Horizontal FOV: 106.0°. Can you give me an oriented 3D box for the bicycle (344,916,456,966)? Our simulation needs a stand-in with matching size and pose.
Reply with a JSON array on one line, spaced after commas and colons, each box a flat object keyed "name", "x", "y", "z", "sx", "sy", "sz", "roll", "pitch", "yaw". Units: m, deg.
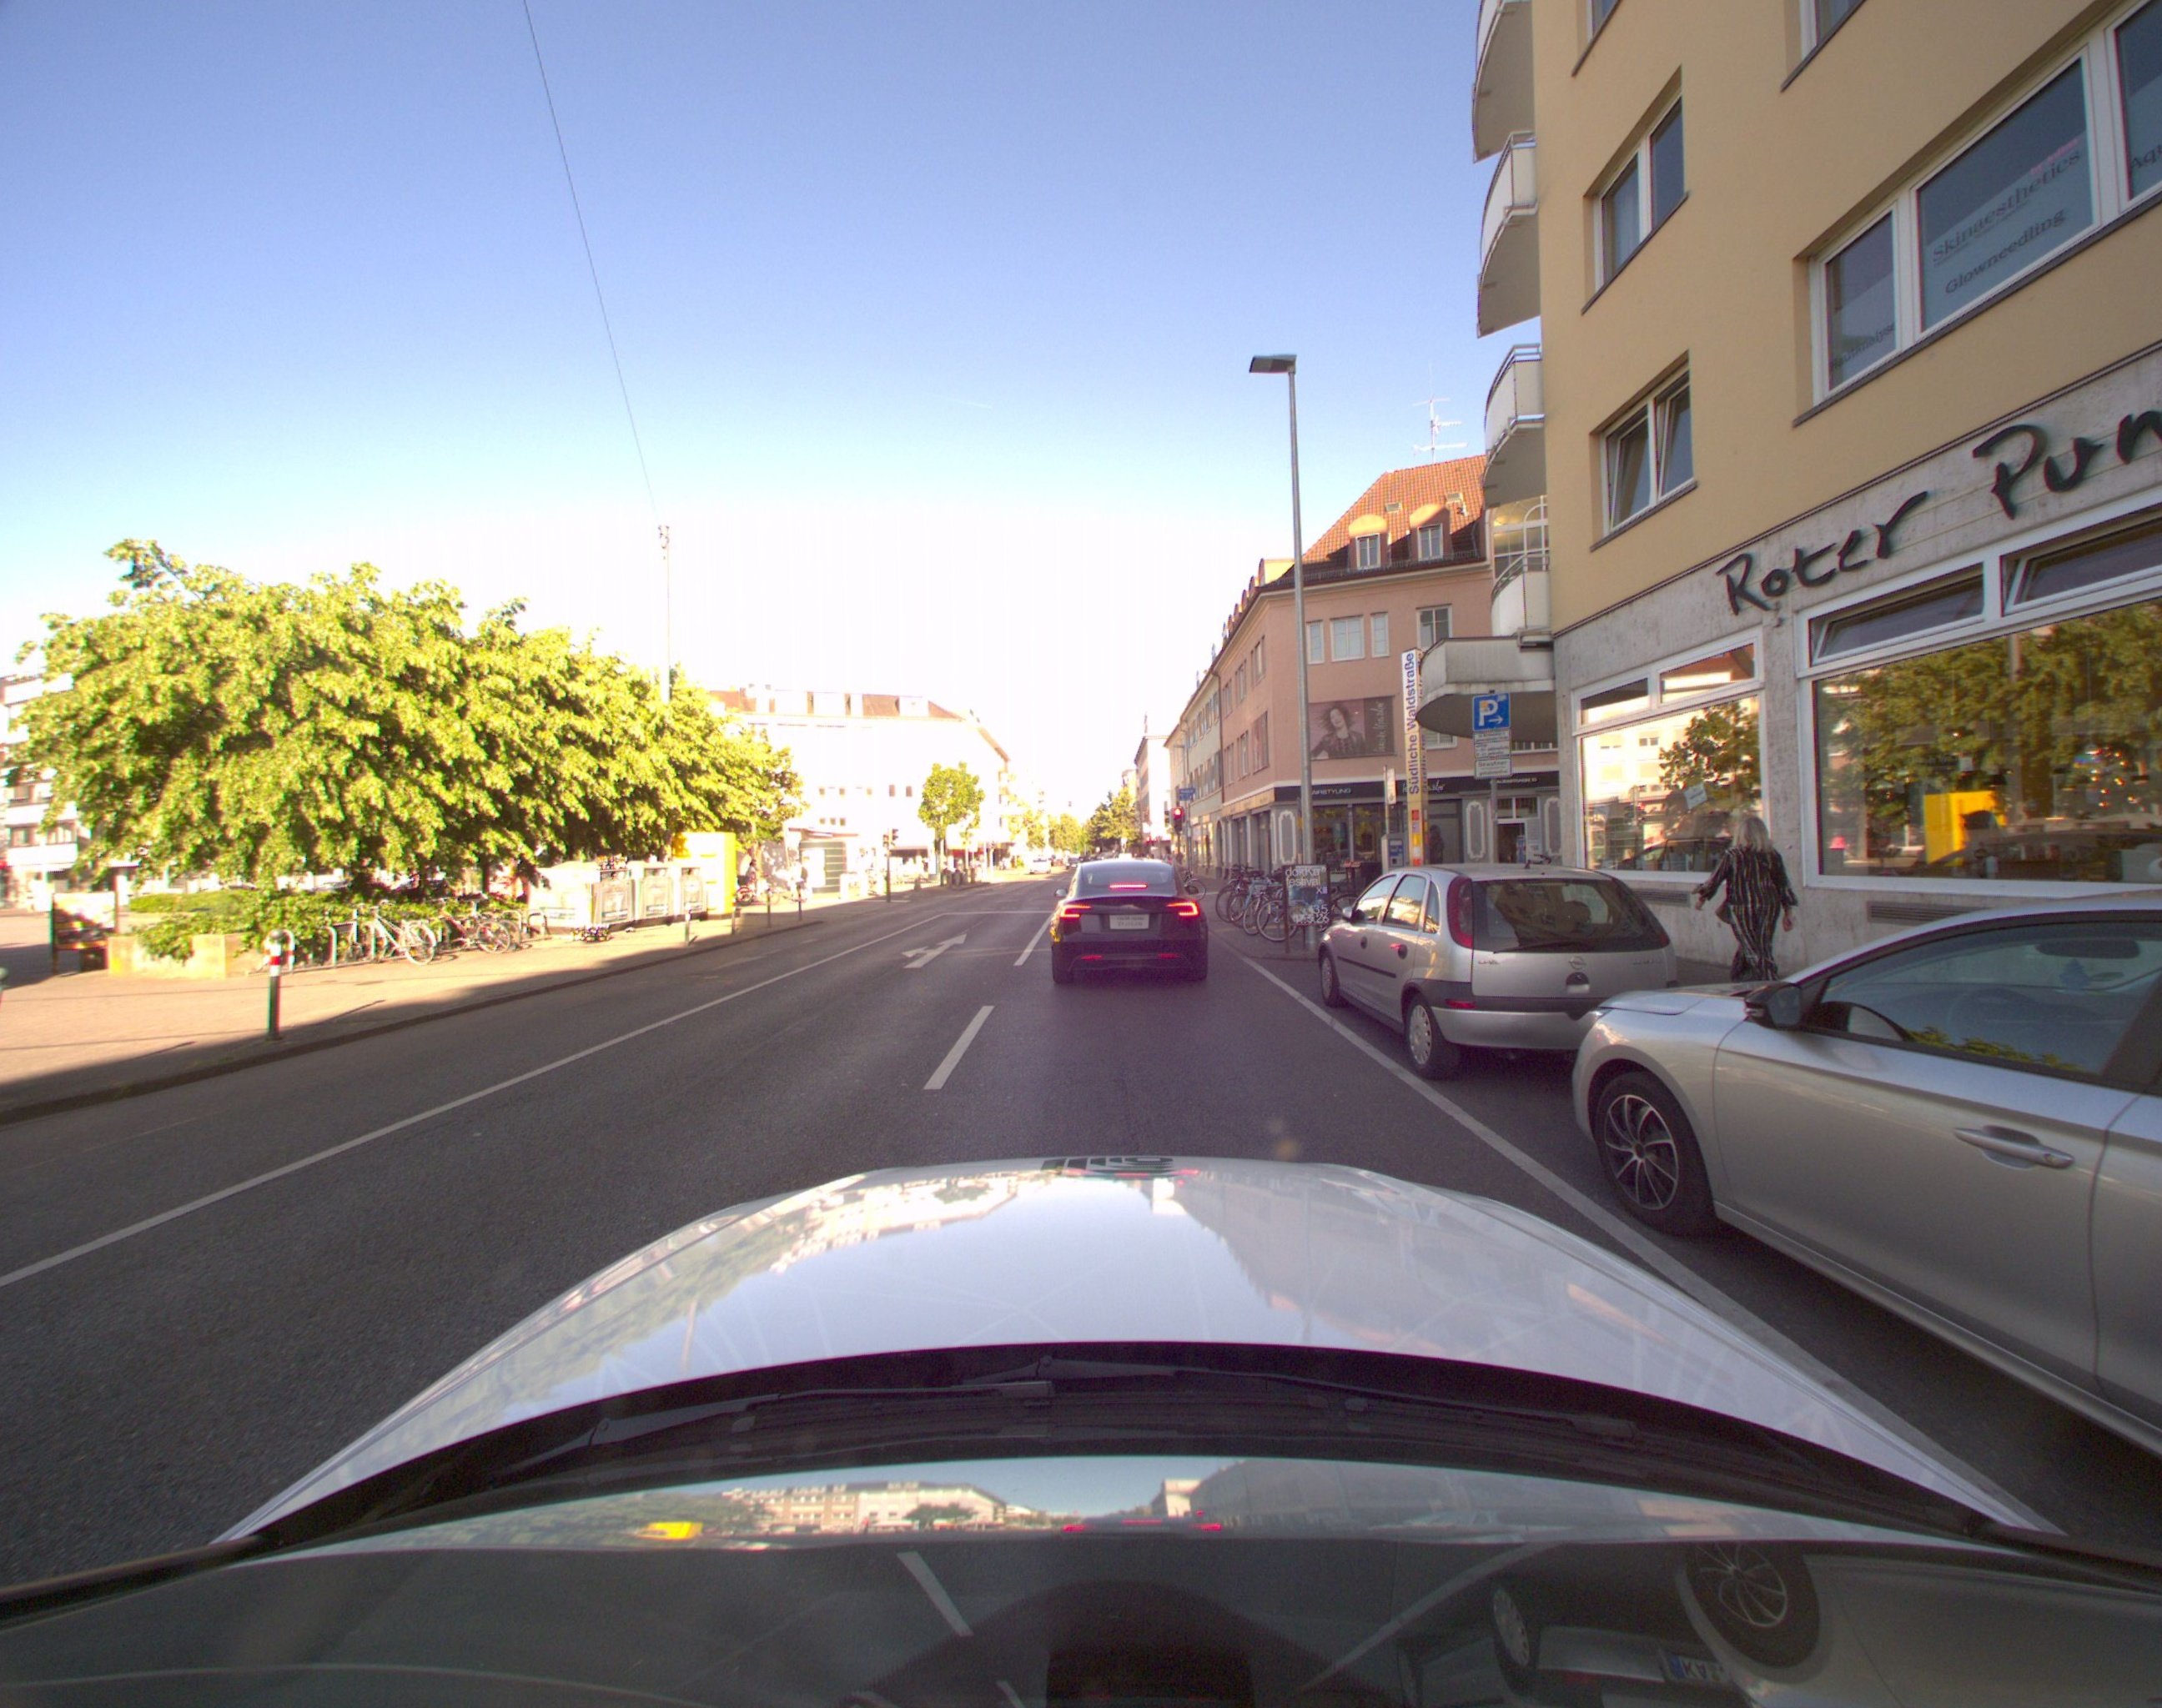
[{"name": "bicycle", "x": -11.303, "y": 1.439, "z": 13.530, "sx": 1.645, "sy": 0.769, "sz": 0.476, "roll": -1, "pitch": -1, "yaw": 10}]

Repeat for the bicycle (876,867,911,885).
[{"name": "bicycle", "x": -12.305, "y": 1.429, "z": 53.594, "sx": 2.074, "sy": 1.104, "sz": 0.806, "roll": -1, "pitch": 0, "yaw": 1}]

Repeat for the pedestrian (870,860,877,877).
[{"name": "pedestrian", "x": -16.287, "y": 1.139, "z": 63.980, "sx": 0.419, "sy": 1.339, "sz": 0.393, "roll": -1, "pitch": 0, "yaw": -5}]

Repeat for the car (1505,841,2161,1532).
[{"name": "car", "x": 3.060, "y": 0.682, "z": 2.166, "sx": 1.665, "sy": 1.427, "sz": 4.075, "roll": -1, "pitch": 0, "yaw": -1}]

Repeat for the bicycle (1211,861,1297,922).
[{"name": "bicycle", "x": 3.565, "y": 0.762, "z": 16.809, "sx": 1.622, "sy": 1.160, "sz": 0.433, "roll": -3, "pitch": 0, "yaw": 0}]

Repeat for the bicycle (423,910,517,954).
[{"name": "bicycle", "x": -11.202, "y": 1.427, "z": 14.934, "sx": 1.465, "sy": 0.769, "sz": 0.442, "roll": -1, "pitch": -1, "yaw": 6}]

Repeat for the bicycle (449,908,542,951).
[{"name": "bicycle", "x": -11.130, "y": 1.429, "z": 15.492, "sx": 1.466, "sy": 0.769, "sz": 0.475, "roll": -1, "pitch": -1, "yaw": 4}]

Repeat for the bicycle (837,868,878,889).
[{"name": "bicycle", "x": -12.685, "y": 1.403, "z": 46.303, "sx": 2.074, "sy": 1.104, "sz": 0.806, "roll": -1, "pitch": 0, "yaw": 1}]

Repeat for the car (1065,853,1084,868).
[{"name": "car", "x": -0.772, "y": 0.806, "z": 98.651, "sx": 2.042, "sy": 1.727, "sz": 4.655, "roll": -1, "pitch": 0, "yaw": 2}]

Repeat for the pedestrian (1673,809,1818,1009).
[{"name": "pedestrian", "x": 5.795, "y": 0.466, "z": 7.142, "sx": 0.659, "sy": 1.633, "sz": 0.629, "roll": -4, "pitch": -1, "yaw": 6}]

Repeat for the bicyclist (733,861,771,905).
[{"name": "bicyclist", "x": -12.120, "y": 1.066, "z": 30.016, "sx": 1.088, "sy": 1.589, "sz": 0.631, "roll": -1, "pitch": 0, "yaw": 18}]

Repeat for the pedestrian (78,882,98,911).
[{"name": "pedestrian", "x": -62.985, "y": 2.683, "z": 51.656, "sx": 0.576, "sy": 1.792, "sz": 0.604, "roll": -1, "pitch": -1, "yaw": 19}]

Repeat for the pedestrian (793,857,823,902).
[{"name": "pedestrian", "x": -10.868, "y": 1.007, "z": 32.444, "sx": 0.897, "sy": 1.725, "sz": 0.745, "roll": -1, "pitch": 0, "yaw": 5}]

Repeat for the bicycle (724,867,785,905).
[{"name": "bicycle", "x": -12.025, "y": 1.175, "z": 29.987, "sx": 2.109, "sy": 1.200, "sz": 0.631, "roll": 5, "pitch": 1, "yaw": 18}]

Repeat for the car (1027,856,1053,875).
[{"name": "car", "x": -3.781, "y": 1.065, "z": 75.358, "sx": 1.986, "sy": 1.541, "sz": 4.002, "roll": -5, "pitch": 0, "yaw": 2}]

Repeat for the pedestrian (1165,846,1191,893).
[{"name": "pedestrian", "x": 3.020, "y": 0.484, "z": 25.233, "sx": 0.738, "sy": 1.440, "sz": 0.584, "roll": -1, "pitch": -1, "yaw": 11}]

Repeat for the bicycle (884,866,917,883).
[{"name": "bicycle", "x": -12.344, "y": 1.398, "z": 55.790, "sx": 2.074, "sy": 1.104, "sz": 0.806, "roll": -1, "pitch": 0, "yaw": 1}]

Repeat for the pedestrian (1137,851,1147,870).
[{"name": "pedestrian", "x": 6.554, "y": 0.679, "z": 88.088, "sx": 0.754, "sy": 2.013, "sz": 0.792, "roll": -1, "pitch": 0, "yaw": -24}]

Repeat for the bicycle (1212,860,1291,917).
[{"name": "bicycle", "x": 3.745, "y": 0.749, "z": 17.946, "sx": 1.621, "sy": 1.160, "sz": 0.433, "roll": -3, "pitch": 0, "yaw": 2}]

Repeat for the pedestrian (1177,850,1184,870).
[{"name": "pedestrian", "x": 10.354, "y": 0.605, "z": 84.719, "sx": 0.620, "sy": 2.013, "sz": 0.562, "roll": -1, "pitch": 0, "yaw": 26}]

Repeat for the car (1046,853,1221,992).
[{"name": "car", "x": 0.653, "y": 0.738, "z": 10.622, "sx": 1.842, "sy": 1.455, "sz": 3.788, "roll": -1, "pitch": 0, "yaw": 3}]

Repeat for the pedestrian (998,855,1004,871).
[{"name": "pedestrian", "x": -9.674, "y": 1.082, "z": 98.932, "sx": 0.623, "sy": 2.014, "sz": 0.575, "roll": -1, "pitch": 0, "yaw": 1}]

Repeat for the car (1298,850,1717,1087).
[{"name": "car", "x": 3.068, "y": 0.692, "z": 6.831, "sx": 1.615, "sy": 1.394, "sz": 3.888, "roll": -1, "pitch": 0, "yaw": 3}]

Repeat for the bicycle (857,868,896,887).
[{"name": "bicycle", "x": -12.265, "y": 1.391, "z": 48.815, "sx": 2.074, "sy": 1.104, "sz": 0.806, "roll": -1, "pitch": 0, "yaw": 1}]

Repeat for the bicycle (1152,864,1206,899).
[{"name": "bicycle", "x": 3.041, "y": 0.851, "z": 25.215, "sx": 1.605, "sy": 1.045, "sz": 0.593, "roll": -1, "pitch": -1, "yaw": 11}]

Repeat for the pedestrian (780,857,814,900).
[{"name": "pedestrian", "x": -11.066, "y": 0.947, "z": 31.772, "sx": 0.981, "sy": 1.636, "sz": 0.738, "roll": -1, "pitch": 0, "yaw": 5}]

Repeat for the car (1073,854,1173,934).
[{"name": "car", "x": 0.870, "y": 0.747, "z": 17.089, "sx": 1.842, "sy": 1.455, "sz": 3.788, "roll": -1, "pitch": 0, "yaw": 3}]

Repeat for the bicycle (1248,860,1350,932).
[{"name": "bicycle", "x": 3.826, "y": 0.734, "z": 14.345, "sx": 1.622, "sy": 1.160, "sz": 0.433, "roll": -3, "pitch": 0, "yaw": 0}]

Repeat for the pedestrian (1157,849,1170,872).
[{"name": "pedestrian", "x": 6.711, "y": 0.496, "z": 66.366, "sx": 0.995, "sy": 1.850, "sz": 0.615, "roll": -1, "pitch": 0, "yaw": 1}]

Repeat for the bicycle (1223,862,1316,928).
[{"name": "bicycle", "x": 3.586, "y": 0.773, "z": 15.555, "sx": 1.622, "sy": 1.160, "sz": 0.433, "roll": -3, "pitch": 0, "yaw": 0}]
